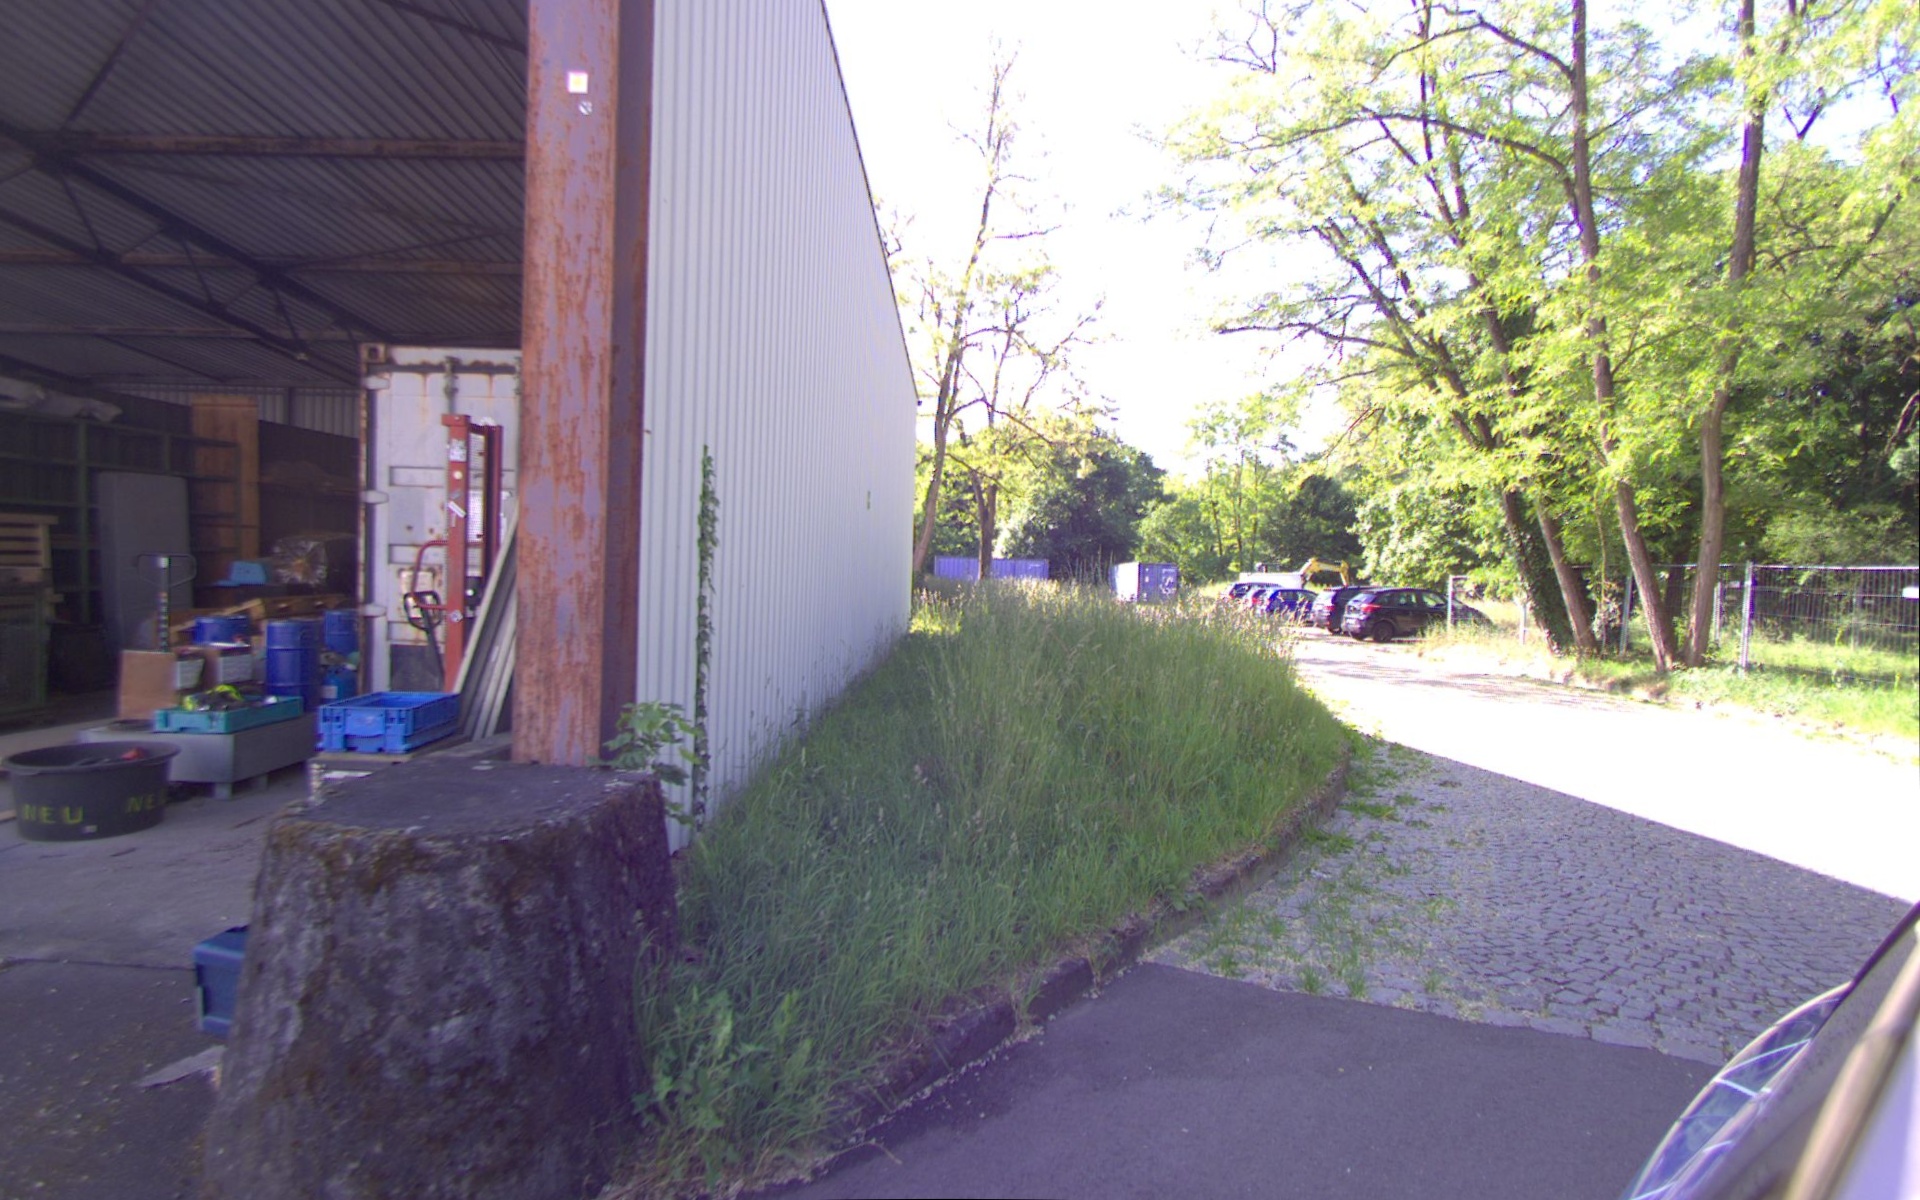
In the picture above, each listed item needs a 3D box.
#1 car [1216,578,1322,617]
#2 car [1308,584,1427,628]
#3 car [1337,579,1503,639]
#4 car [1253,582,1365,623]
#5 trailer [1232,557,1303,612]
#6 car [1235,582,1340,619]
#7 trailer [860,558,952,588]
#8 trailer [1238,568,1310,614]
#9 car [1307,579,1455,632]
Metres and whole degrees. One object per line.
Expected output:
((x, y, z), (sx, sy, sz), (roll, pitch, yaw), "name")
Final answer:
((13.537, -0.146, 44.537), (4.055, 1.609, 1.970), (1, 2, 2), "car")
((14.786, 0.187, 36.877), (3.662, 1.469, 1.741), (1, 2, 8), "car")
((13.951, 0.249, 30.843), (4.190, 1.609, 1.831), (-2, 1, -2), "car")
((13.557, 0.085, 39.474), (3.721, 1.476, 1.785), (0, 2, 3), "car")
((15.044, -0.776, 49.592), (2.799, 2.570, 2.264), (-2, 2, 4), "trailer")
((13.578, 0.019, 42.113), (3.720, 1.429, 1.895), (1, 2, 2), "car")
((-2.922, -1.476, 55.295), (4.772, 1.432, 2.648), (2, 2, 2), "trailer")
((14.675, -0.446, 47.392), (2.799, 2.076, 1.823), (1, 2, 4), "trailer")
((14.155, 0.157, 34.197), (4.190, 1.651, 1.882), (-1, 2, -2), "car")
